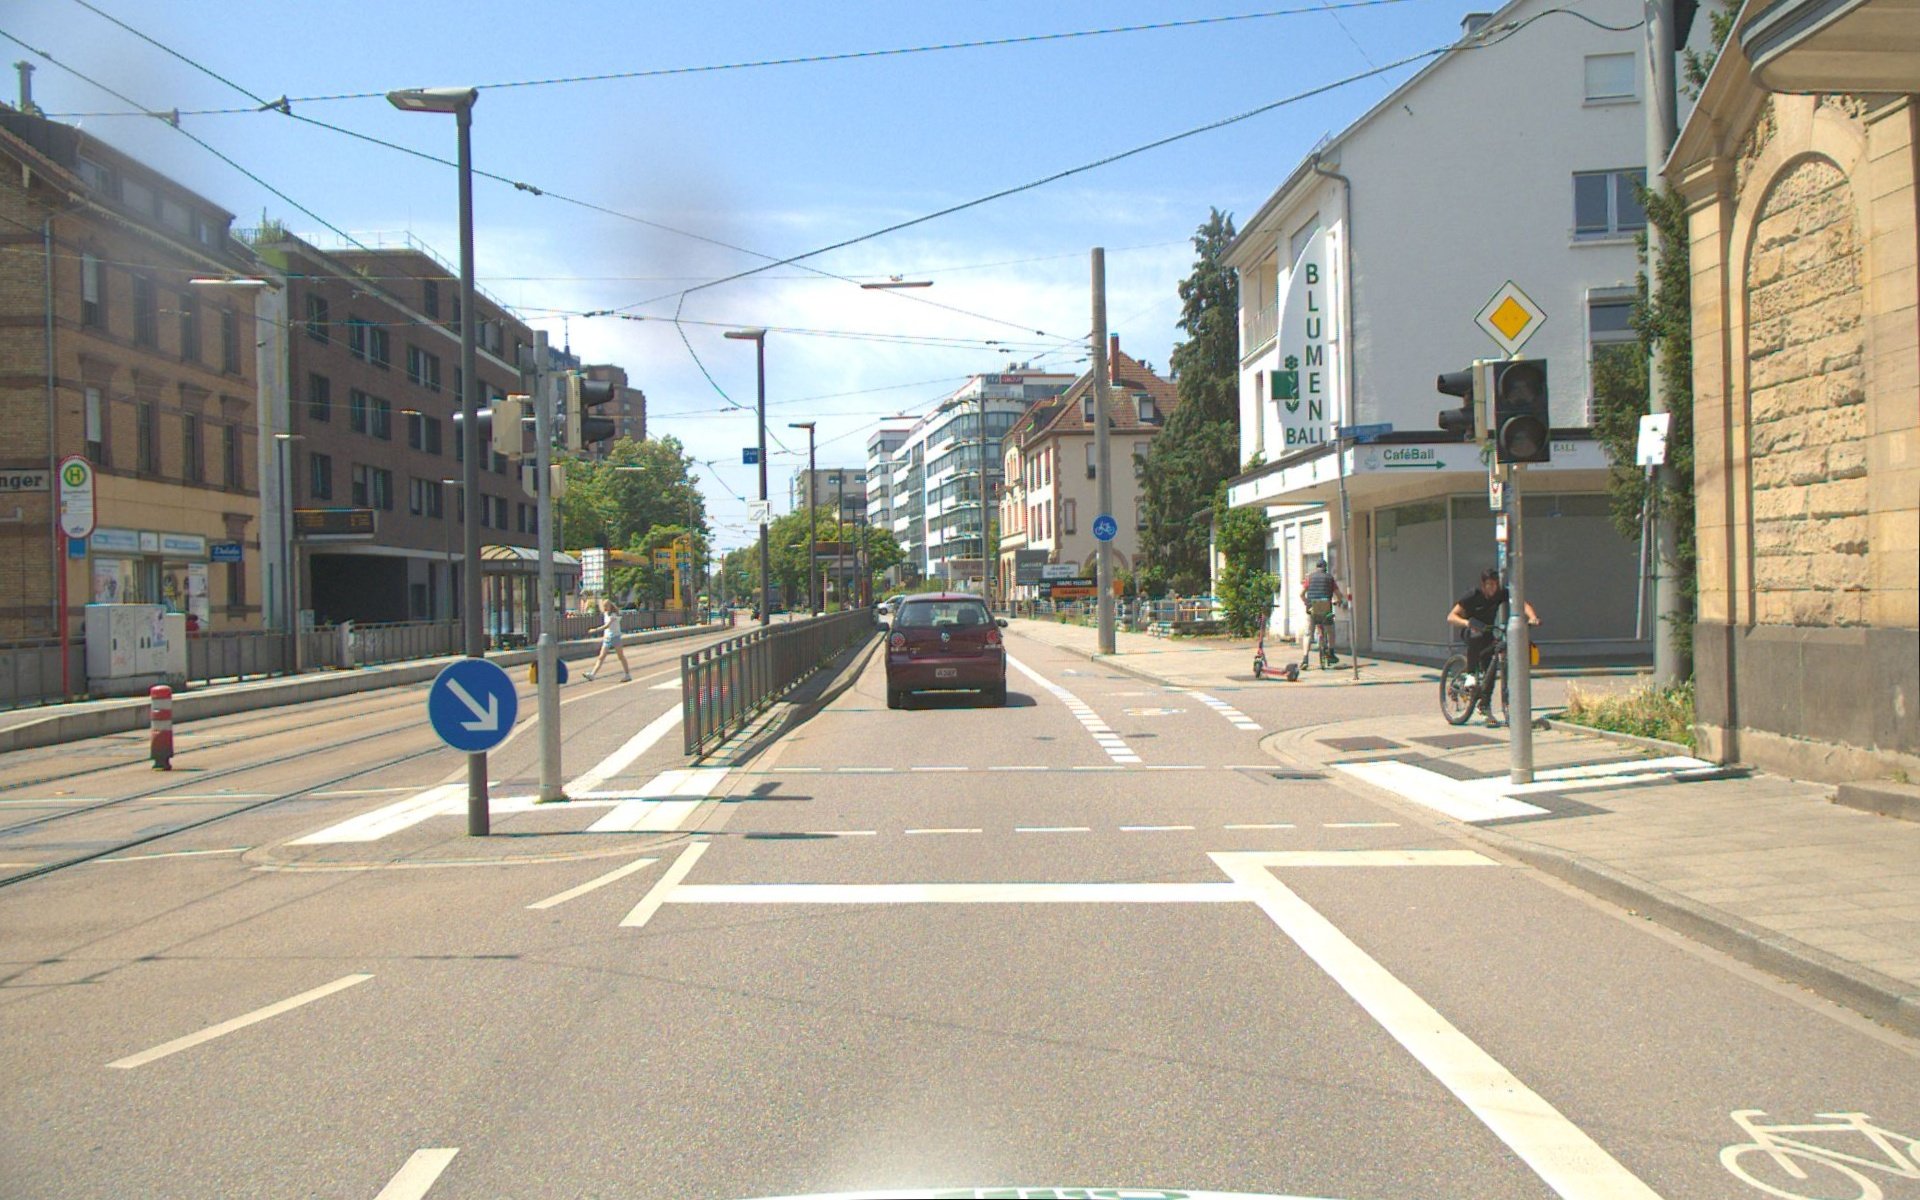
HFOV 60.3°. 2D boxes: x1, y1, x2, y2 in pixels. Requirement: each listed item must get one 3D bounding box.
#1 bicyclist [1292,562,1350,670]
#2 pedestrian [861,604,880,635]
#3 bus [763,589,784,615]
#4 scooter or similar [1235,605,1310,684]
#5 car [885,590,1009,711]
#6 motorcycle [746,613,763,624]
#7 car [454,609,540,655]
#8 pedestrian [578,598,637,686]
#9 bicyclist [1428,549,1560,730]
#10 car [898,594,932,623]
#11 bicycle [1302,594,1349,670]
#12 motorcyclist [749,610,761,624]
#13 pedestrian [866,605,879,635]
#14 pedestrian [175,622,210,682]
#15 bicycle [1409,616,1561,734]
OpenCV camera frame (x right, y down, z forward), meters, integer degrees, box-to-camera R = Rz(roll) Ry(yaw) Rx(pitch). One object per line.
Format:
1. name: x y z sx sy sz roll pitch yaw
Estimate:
1. bicyclist: 6.131 0.262 28.074 0.713 1.791 0.923 -2 0 25
2. pedestrian: -5.677 1.225 104.541 1.146 1.868 0.791 -2 0 -5
3. bus: -22.999 0.270 203.712 2.106 3.055 6.557 -2 0 -10
4. scooter or similar: 4.873 0.683 25.857 0.335 1.198 1.456 -1 0 -25
5. car: -0.224 0.642 22.525 1.530 1.479 3.060 -2 0 -2
6. motorcycle: -17.738 1.604 142.866 0.853 0.820 1.911 -2 0 11
7. car: -17.101 1.153 61.258 1.952 1.534 4.000 -2 0 1
8. pedestrian: -7.042 0.833 33.110 1.076 1.704 0.764 -1 0 -9
9. bicyclist: 5.222 0.373 16.222 0.817 1.645 0.859 -6 0 -6
10. car: -2.794 0.509 101.315 1.954 1.653 4.629 -2 0 -3
11. bicycle: 6.190 0.526 27.984 0.368 1.218 1.904 -2 0 24
12. motorcyclist: -17.732 1.431 142.881 0.831 1.159 0.635 -2 0 11
13. pedestrian: -5.436 1.243 103.130 0.730 1.868 0.791 -2 0 -4
14. pedestrian: -20.892 1.403 45.019 0.602 1.588 0.640 -2 0 -2
15. bicycle: 5.123 0.702 16.258 0.656 1.019 1.861 -6 0 -5
